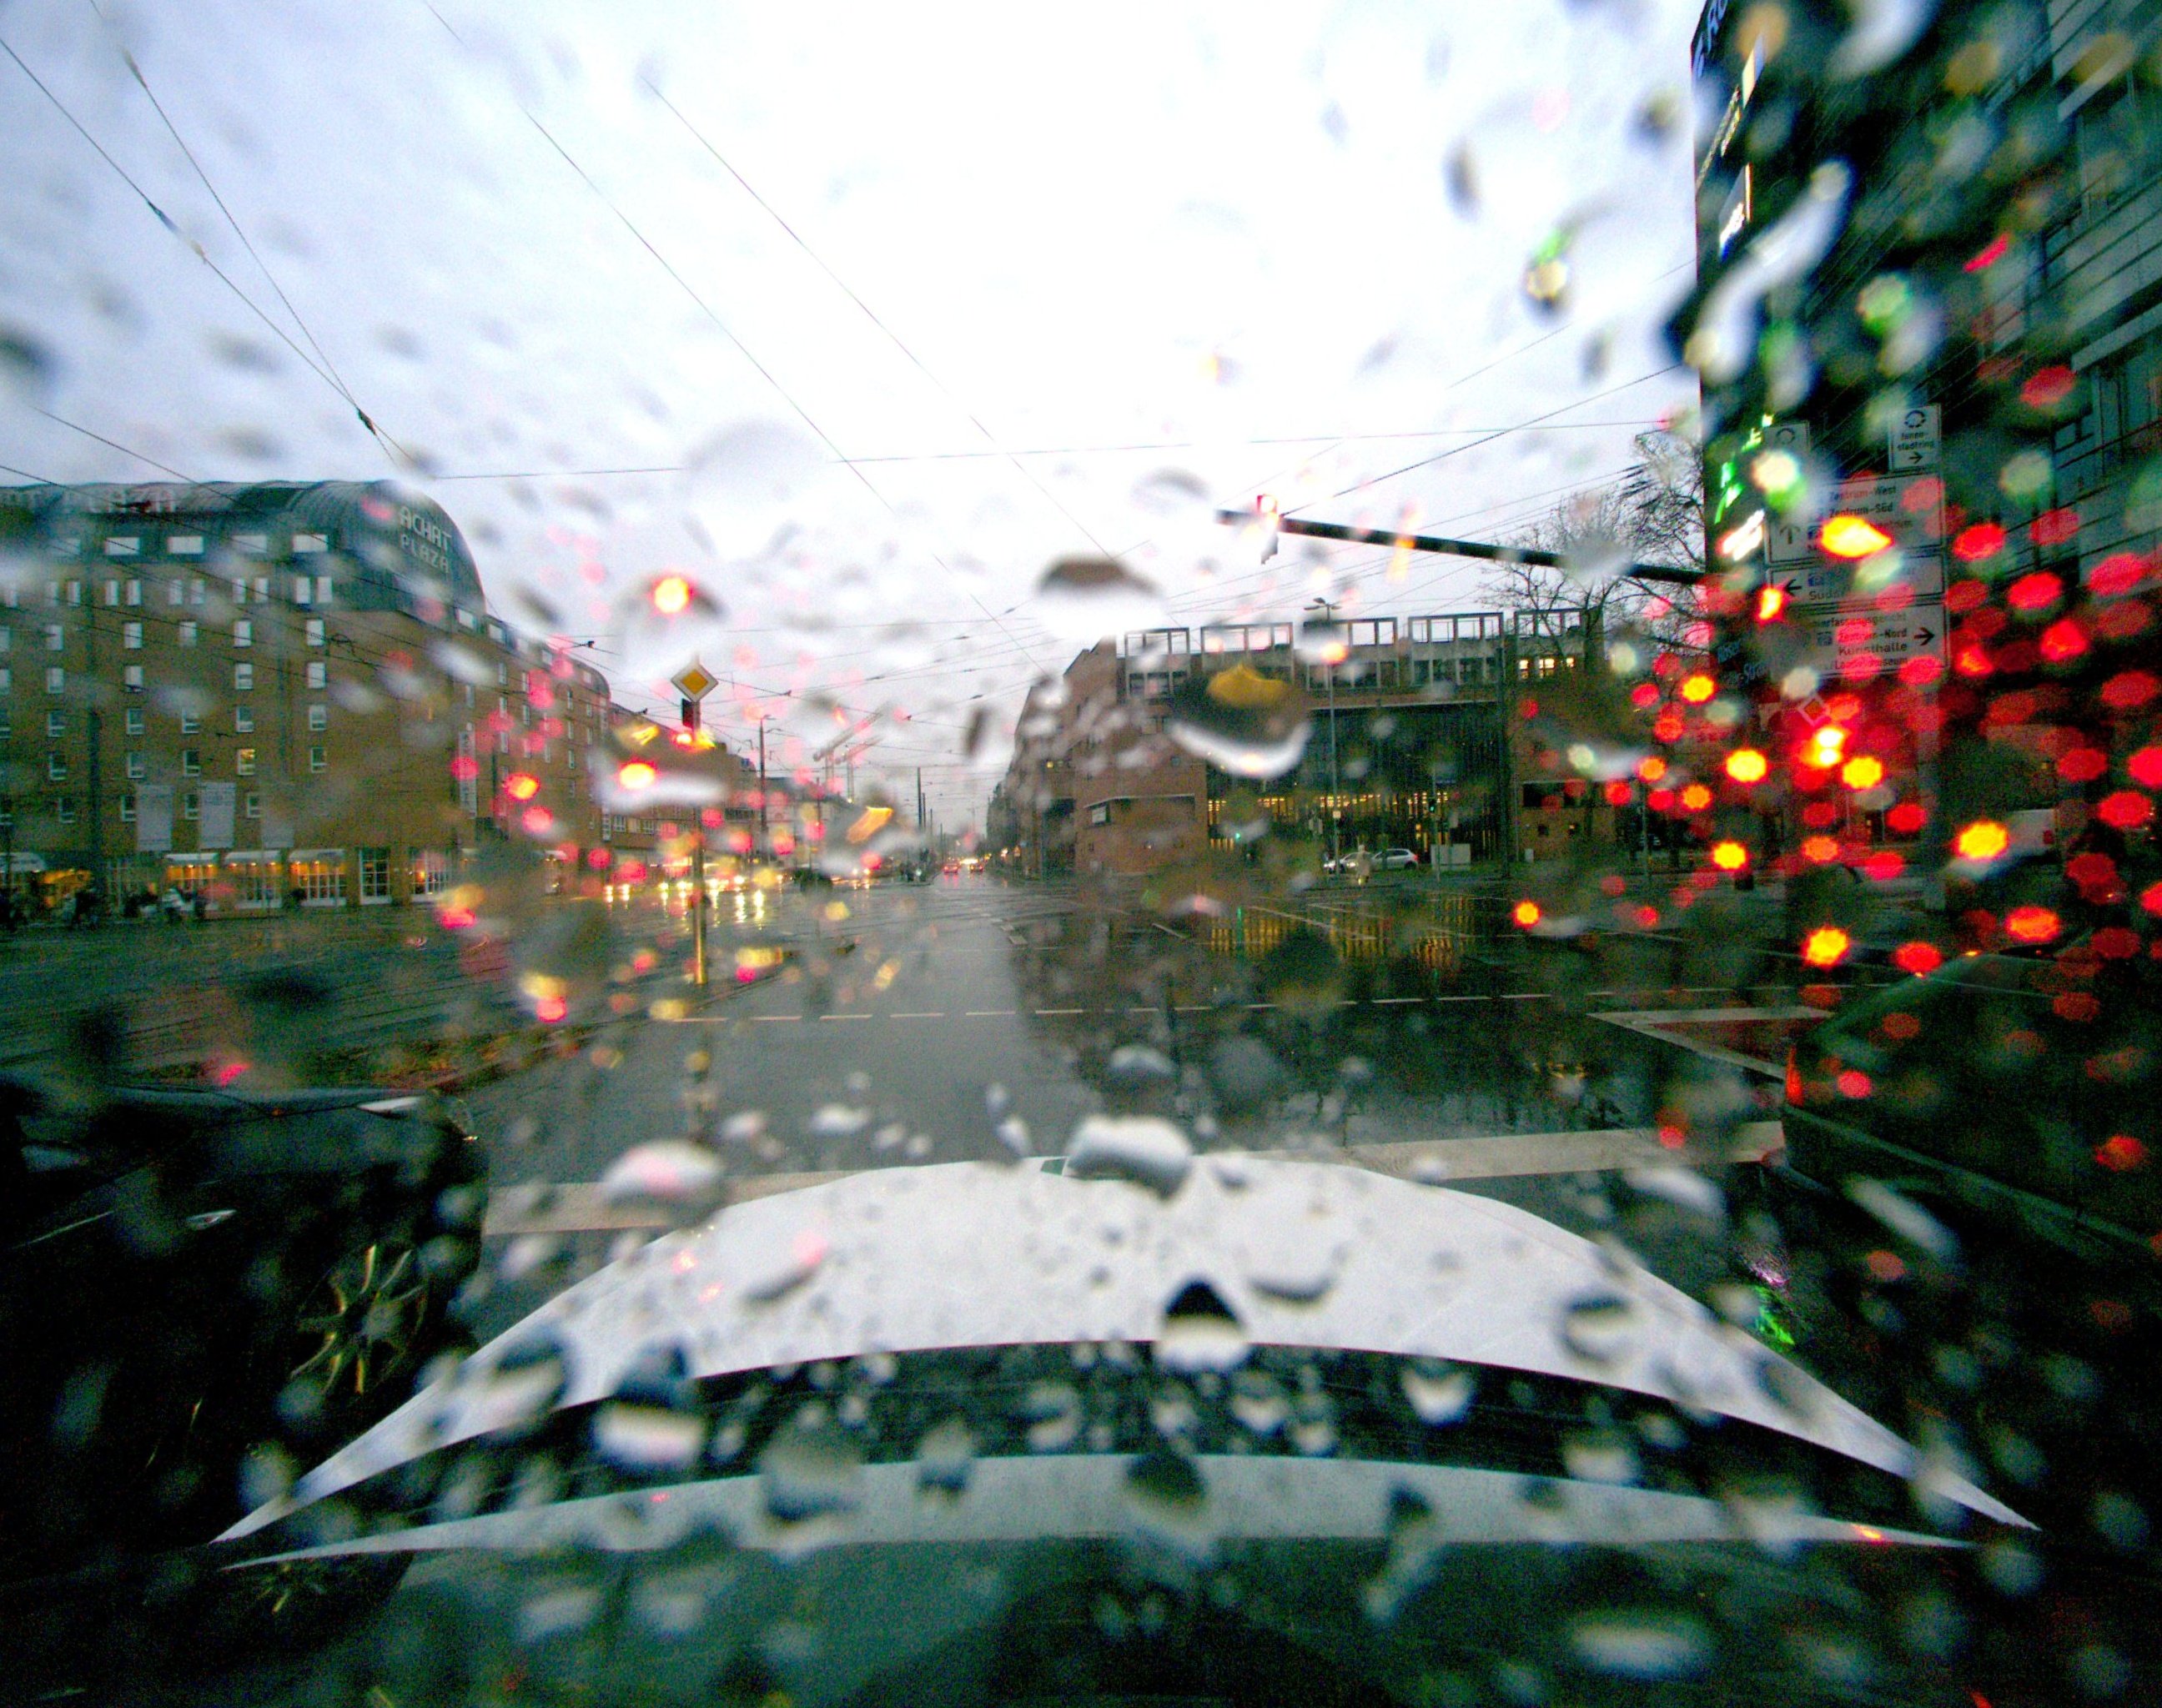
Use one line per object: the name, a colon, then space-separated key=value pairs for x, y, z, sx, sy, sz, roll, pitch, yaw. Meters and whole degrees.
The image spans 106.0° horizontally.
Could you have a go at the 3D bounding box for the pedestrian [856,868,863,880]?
pedestrian: x=-21.315 y=1.946 z=78.443 sx=0.579 sy=1.152 sz=0.489 roll=0 pitch=-1 yaw=-7

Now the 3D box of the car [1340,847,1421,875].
car: x=17.291 y=0.393 z=47.166 sx=3.976 sy=1.341 sz=1.810 roll=-4 pitch=0 yaw=-6

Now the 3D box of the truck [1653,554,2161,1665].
truck: x=2.785 y=0.438 z=0.365 sx=1.897 sy=1.917 sz=4.618 roll=0 pitch=0 yaw=1

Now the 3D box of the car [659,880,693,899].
car: x=-35.359 y=3.084 z=71.173 sx=1.580 sy=1.495 sz=3.586 roll=-2 pitch=0 yaw=-7

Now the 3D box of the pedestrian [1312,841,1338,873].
pedestrian: x=14.106 y=0.182 z=47.040 sx=1.148 sy=1.787 sz=0.775 roll=-2 pitch=0 yaw=-8

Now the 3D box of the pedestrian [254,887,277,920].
pedestrian: x=-39.877 y=2.412 z=39.812 sx=0.515 sy=1.538 sz=0.577 roll=-2 pitch=0 yaw=10

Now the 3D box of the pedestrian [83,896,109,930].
pedestrian: x=-45.701 y=2.720 z=37.782 sx=0.515 sy=1.538 sz=0.577 roll=-2 pitch=0 yaw=10

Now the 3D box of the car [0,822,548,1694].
car: x=-2.833 y=0.756 z=1.014 sx=1.673 sy=1.573 sz=3.763 roll=-2 pitch=0 yaw=3

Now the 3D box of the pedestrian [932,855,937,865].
pedestrian: x=-23.174 y=0.923 z=128.825 sx=0.682 sy=1.516 sz=0.614 roll=-1 pitch=-1 yaw=-21

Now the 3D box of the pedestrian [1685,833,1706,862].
pedestrian: x=29.478 y=-0.303 z=39.063 sx=0.603 sy=1.364 sz=0.478 roll=-2 pitch=0 yaw=-1

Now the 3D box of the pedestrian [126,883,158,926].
pedestrian: x=-45.573 y=2.440 z=39.542 sx=0.699 sy=2.014 sz=0.763 roll=-2 pitch=-1 yaw=17

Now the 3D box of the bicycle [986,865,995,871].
bicycle: x=-17.036 y=2.601 z=153.192 sx=1.730 sy=1.055 sz=0.370 roll=-3 pitch=0 yaw=-10

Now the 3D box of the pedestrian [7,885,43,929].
pedestrian: x=-49.989 y=2.502 z=38.552 sx=0.742 sy=2.014 sz=0.719 roll=-2 pitch=-1 yaw=-2

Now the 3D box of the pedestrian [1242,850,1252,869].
pedestrian: x=12.915 y=0.428 z=63.370 sx=0.732 sy=1.389 sz=0.740 roll=-2 pitch=0 yaw=12

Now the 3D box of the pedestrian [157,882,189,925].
pedestrian: x=-43.203 y=2.351 z=38.751 sx=0.699 sy=2.014 sz=0.763 roll=-2 pitch=-1 yaw=17

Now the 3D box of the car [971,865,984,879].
car: x=-15.992 y=2.730 z=125.849 sx=1.991 sy=2.013 sz=3.991 roll=-2 pitch=0 yaw=-7

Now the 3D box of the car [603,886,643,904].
car: x=-40.186 y=3.606 z=71.541 sx=1.611 sy=1.321 sz=4.216 roll=-2 pitch=0 yaw=-8

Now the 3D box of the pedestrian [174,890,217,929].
pedestrian: x=-45.045 y=2.803 z=41.444 sx=0.852 sy=1.899 sz=1.165 roll=-2 pitch=0 yaw=10

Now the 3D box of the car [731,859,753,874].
car: x=-47.952 y=1.737 z=115.153 sx=1.993 sy=2.014 sz=3.988 roll=0 pitch=-1 yaw=-9

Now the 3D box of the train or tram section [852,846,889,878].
train or tram section: x=-25.183 y=0.906 z=98.151 sx=2.948 sy=3.589 sz=12.220 roll=0 pitch=0 yaw=-8

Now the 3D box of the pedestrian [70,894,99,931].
pedestrian: x=-43.131 y=2.531 z=35.239 sx=0.515 sy=1.538 sz=0.577 roll=-2 pitch=0 yaw=10

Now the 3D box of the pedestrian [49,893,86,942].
pedestrian: x=-43.807 y=2.734 z=35.213 sx=0.699 sy=2.014 sz=0.763 roll=-2 pitch=-1 yaw=17

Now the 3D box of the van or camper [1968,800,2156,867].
van or camper: x=30.632 y=-0.642 z=25.467 sx=4.738 sy=1.929 sz=1.833 roll=-2 pitch=0 yaw=-13

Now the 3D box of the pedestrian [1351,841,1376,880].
pedestrian: x=12.993 y=0.295 z=37.481 sx=0.734 sy=1.787 sz=0.732 roll=-2 pitch=0 yaw=-12

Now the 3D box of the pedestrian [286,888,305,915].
pedestrian: x=-45.984 y=2.782 z=47.670 sx=0.515 sy=1.538 sz=0.577 roll=-2 pitch=0 yaw=10

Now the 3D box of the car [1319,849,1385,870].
car: x=18.685 y=0.380 z=56.247 sx=3.977 sy=1.310 sz=1.810 roll=-2 pitch=0 yaw=-7

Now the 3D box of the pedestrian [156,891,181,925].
pedestrian: x=-42.405 y=2.509 z=37.849 sx=0.515 sy=1.538 sz=0.577 roll=-2 pitch=0 yaw=10

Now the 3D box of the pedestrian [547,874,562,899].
pedestrian: x=-42.688 y=2.633 z=65.994 sx=0.939 sy=2.014 sz=0.751 roll=-2 pitch=-1 yaw=-32

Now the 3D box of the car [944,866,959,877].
car: x=-18.026 y=2.459 z=113.498 sx=1.782 sy=1.467 sz=3.141 roll=-2 pitch=0 yaw=-7

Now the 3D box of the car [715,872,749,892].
car: x=-33.714 y=2.661 z=78.827 sx=1.828 sy=1.709 sz=4.690 roll=-2 pitch=0 yaw=-9

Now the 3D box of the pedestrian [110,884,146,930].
pedestrian: x=-43.765 y=2.416 z=37.399 sx=0.755 sy=2.014 sz=0.706 roll=-2 pitch=-1 yaw=-5

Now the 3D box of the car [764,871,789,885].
car: x=-30.330 y=2.381 z=81.111 sx=1.681 sy=1.354 sz=3.534 roll=-1 pitch=-1 yaw=-9

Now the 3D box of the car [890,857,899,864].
car: x=-40.717 y=1.390 z=177.471 sx=1.681 sy=1.354 sz=3.534 roll=-1 pitch=-1 yaw=-9

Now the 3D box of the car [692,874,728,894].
car: x=-32.517 y=2.612 z=71.459 sx=1.667 sy=1.495 sz=4.190 roll=-2 pitch=0 yaw=-7

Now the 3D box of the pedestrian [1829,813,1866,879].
pedestrian: x=21.653 y=-0.217 z=23.011 sx=0.805 sy=1.811 sz=0.643 roll=-2 pitch=-1 yaw=-42
